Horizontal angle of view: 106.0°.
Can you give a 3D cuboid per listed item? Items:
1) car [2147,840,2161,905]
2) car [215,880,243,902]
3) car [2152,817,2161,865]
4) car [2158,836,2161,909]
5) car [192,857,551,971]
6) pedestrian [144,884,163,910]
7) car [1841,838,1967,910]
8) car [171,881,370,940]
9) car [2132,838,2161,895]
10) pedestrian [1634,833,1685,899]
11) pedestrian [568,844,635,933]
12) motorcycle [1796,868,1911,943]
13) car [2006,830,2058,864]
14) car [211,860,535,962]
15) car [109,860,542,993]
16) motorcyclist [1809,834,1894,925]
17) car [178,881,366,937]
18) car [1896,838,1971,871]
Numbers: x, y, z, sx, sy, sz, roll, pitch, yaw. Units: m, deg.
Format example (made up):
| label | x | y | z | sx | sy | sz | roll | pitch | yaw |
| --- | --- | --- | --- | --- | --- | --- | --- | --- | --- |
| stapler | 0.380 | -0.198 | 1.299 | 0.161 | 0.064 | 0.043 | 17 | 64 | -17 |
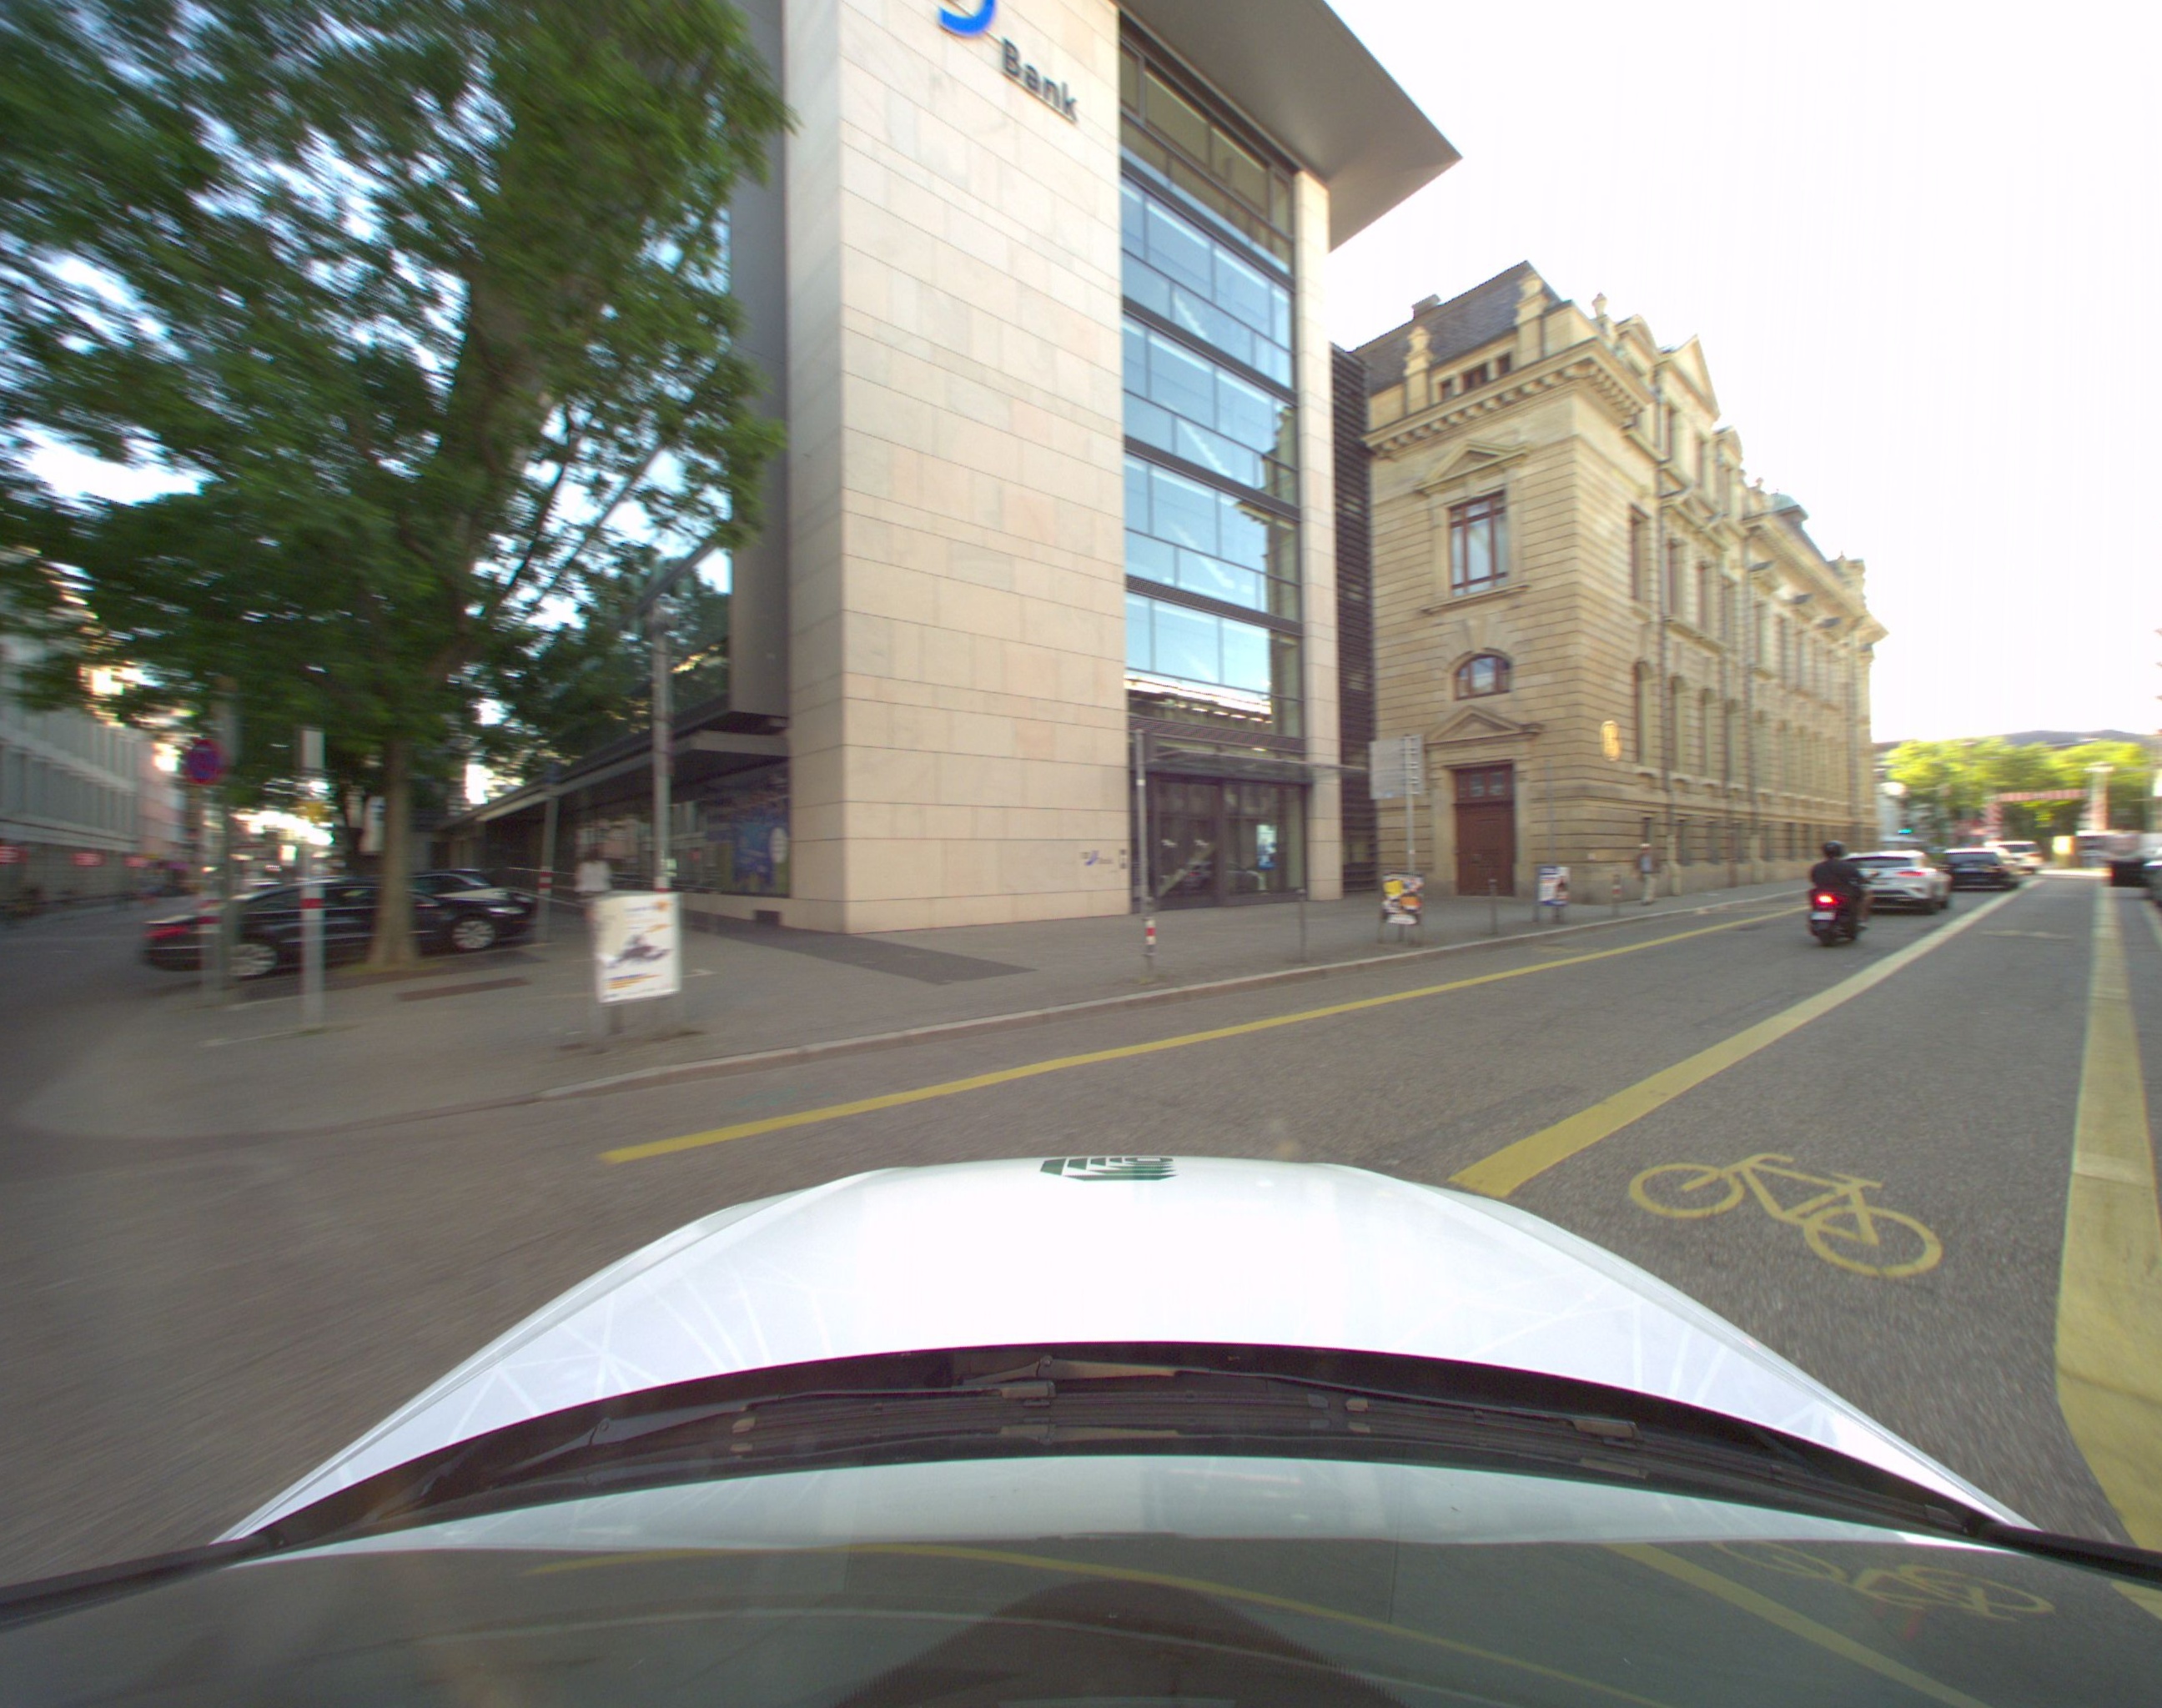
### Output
| label | x | y | z | sx | sy | sz | roll | pitch | yaw |
| --- | --- | --- | --- | --- | --- | --- | --- | --- | --- |
| car | 26.776 | 0.386 | 19.245 | 4.310 | 1.479 | 1.766 | -1 | -2 | -39 |
| car | -94.017 | 4.096 | 89.905 | 4.958 | 2.329 | 2.012 | -2 | -2 | 45 |
| car | 41.534 | -0.523 | 30.352 | 4.690 | 1.699 | 1.809 | -3 | 1 | -39 |
| car | 22.010 | 0.432 | 15.428 | 4.310 | 1.479 | 1.767 | -3 | 1 | -39 |
| car | -13.760 | 1.053 | 16.156 | 1.975 | 1.499 | 5.052 | -3 | 2 | 45 |
| pedestrian | -57.647 | 2.669 | 50.622 | 0.738 | 1.574 | 0.628 | 0 | -2 | -42 |
| car | 20.137 | 0.422 | 19.873 | 4.286 | 1.541 | 1.807 | -1 | 0 | -40 |
| car | -30.022 | 2.031 | 30.382 | 1.975 | 1.499 | 5.052 | -3 | 2 | 45 |
| car | 31.455 | 0.308 | 23.153 | 4.760 | 1.501 | 1.809 | -2 | 1 | -39 |
| pedestrian | 16.272 | 0.318 | 22.906 | 1.078 | 1.799 | 0.835 | 0 | 2 | -36 |
| pedestrian | -9.772 | 0.683 | 16.597 | 0.913 | 1.705 | 0.824 | -5 | 1 | -42 |
| motorcycle | 12.652 | 0.814 | 13.331 | 1.845 | 1.109 | 0.867 | -1 | -2 | -31 |
| car | 49.241 | -0.364 | 42.195 | 3.811 | 1.485 | 1.614 | -4 | -2 | -41 |
| car | -15.221 | 1.118 | 17.818 | 1.975 | 1.499 | 5.052 | -3 | 2 | 45 |
| car | -12.479 | 1.066 | 13.917 | 1.975 | 1.451 | 5.052 | -3 | 2 | 45 |
| motorcyclist | 12.555 | 0.408 | 13.293 | 0.457 | 1.427 | 0.861 | -1 | -2 | -29 |
| car | -31.698 | 2.098 | 32.105 | 1.975 | 1.499 | 5.052 | -3 | 2 | 45 |
| car | 49.822 | -0.009 | 47.704 | 1.974 | 1.664 | 4.386 | -6 | -1 | 33 |
